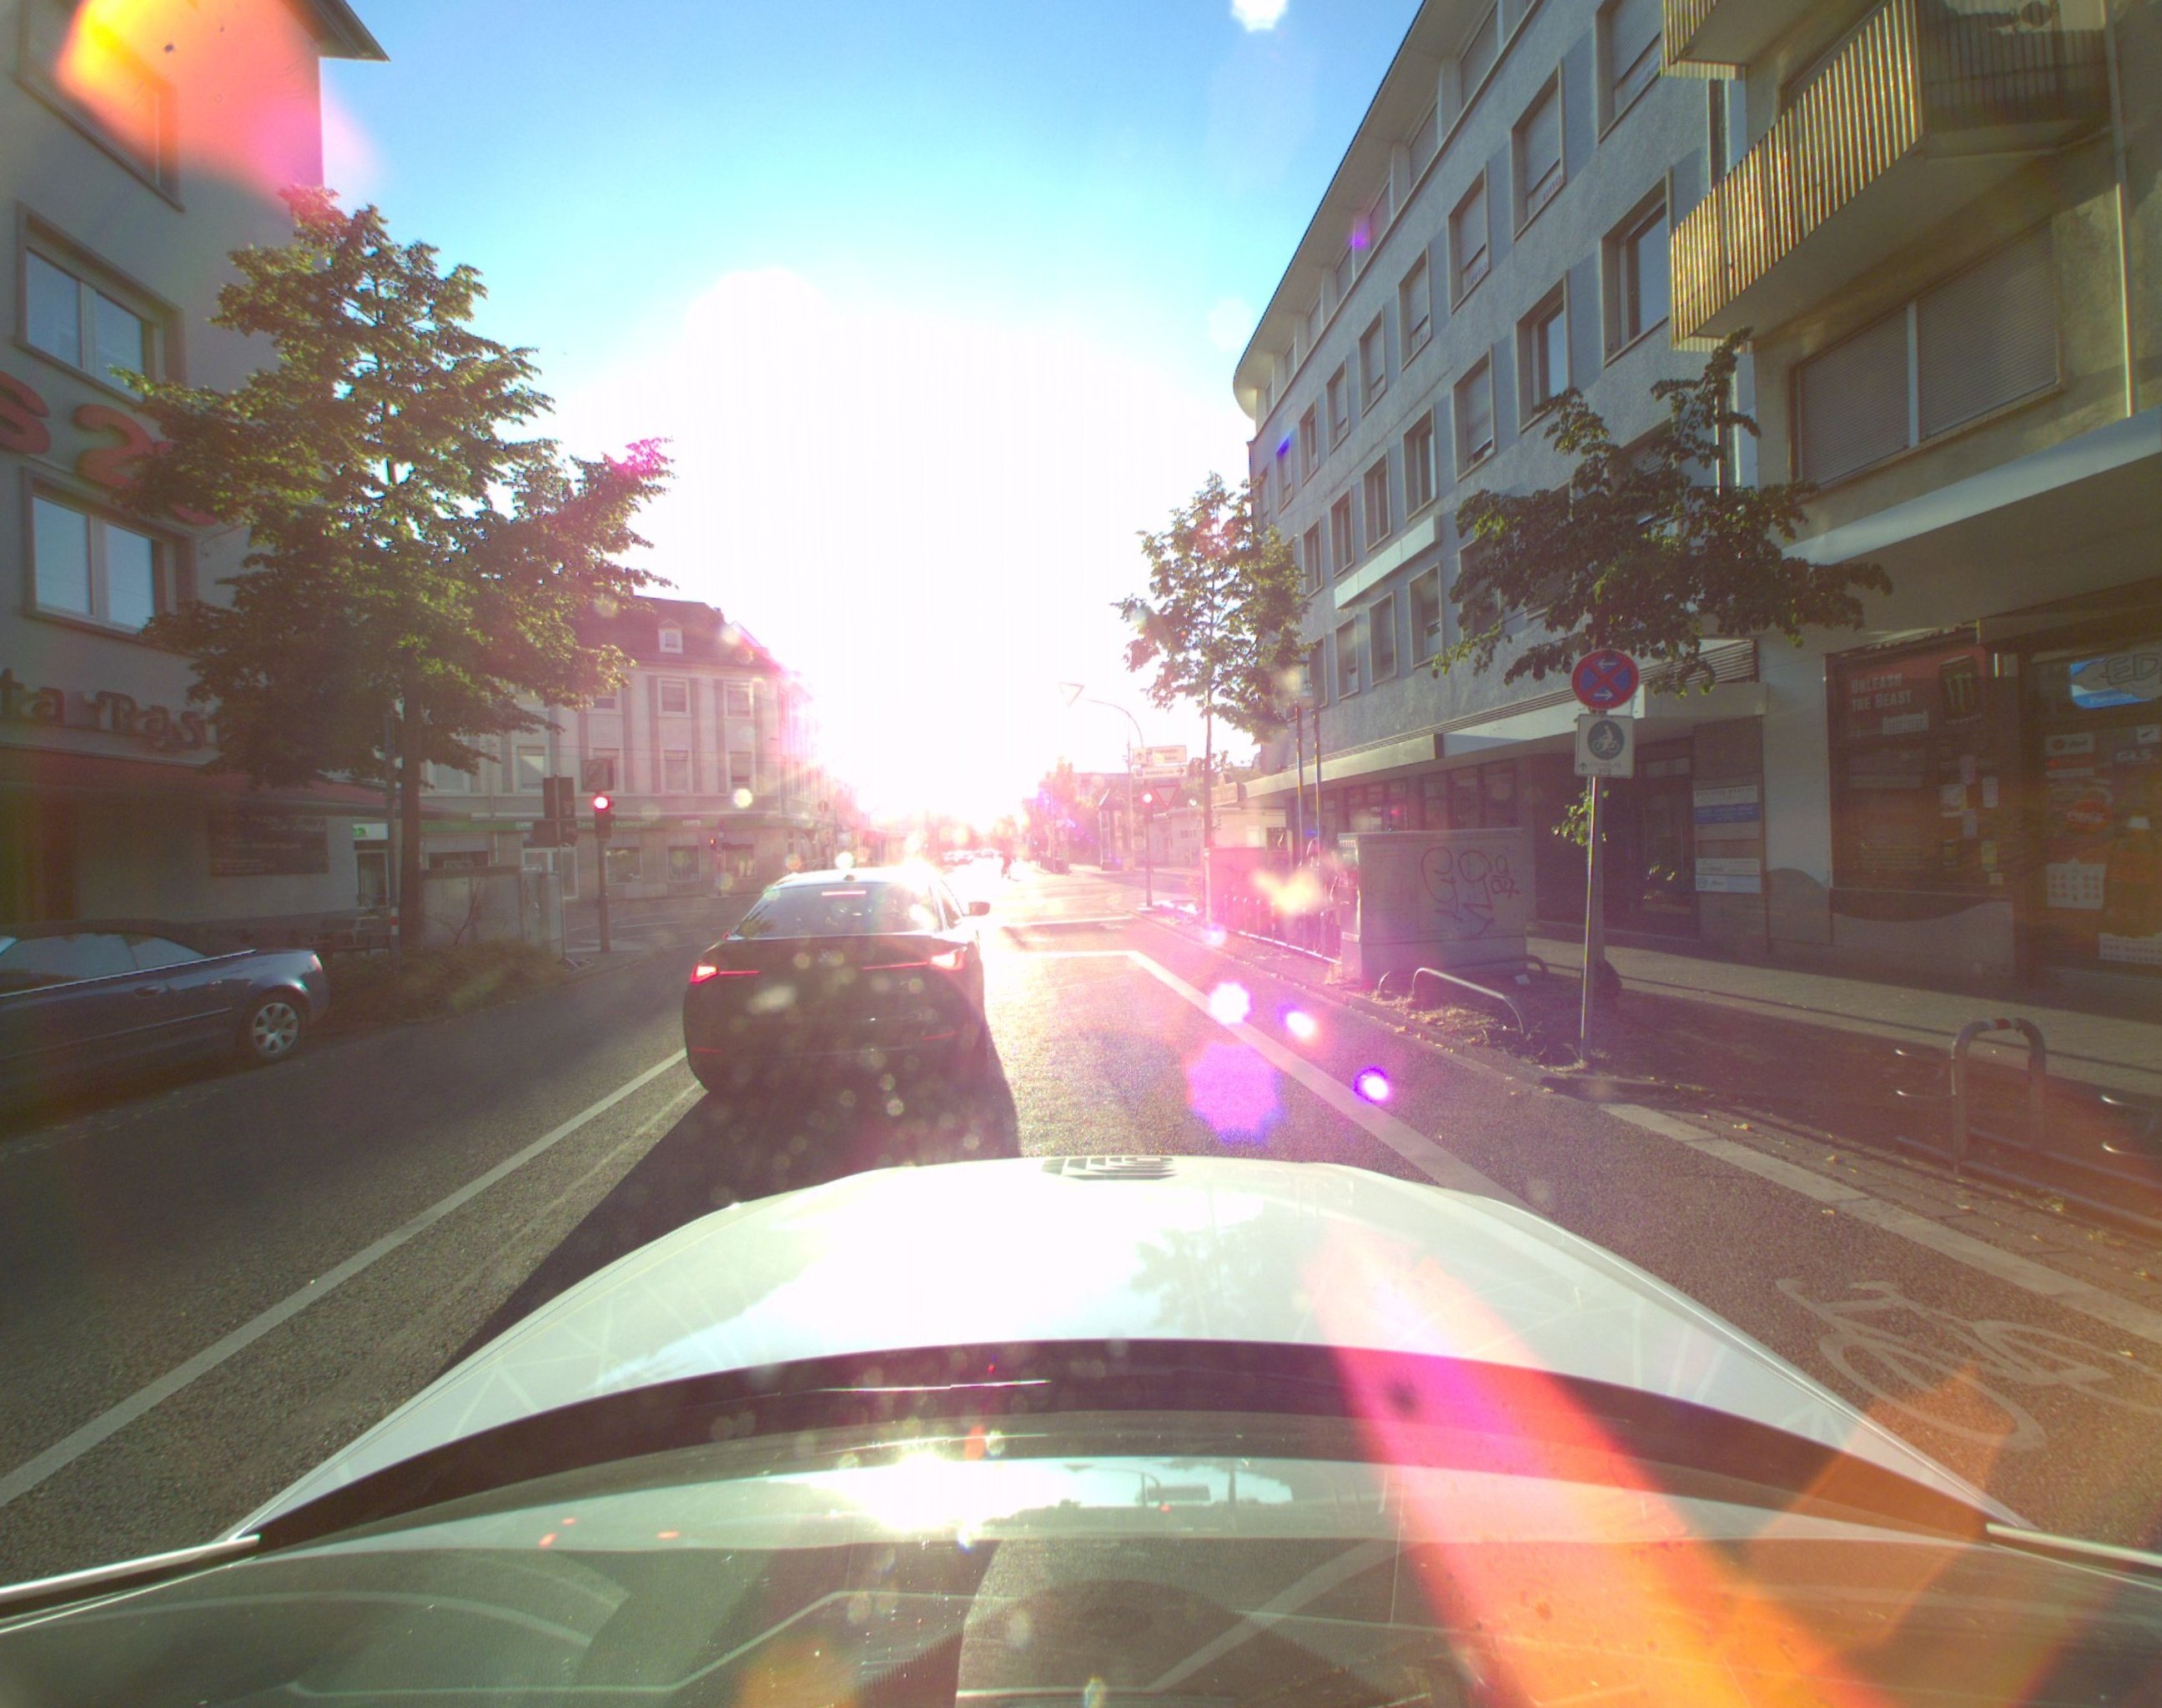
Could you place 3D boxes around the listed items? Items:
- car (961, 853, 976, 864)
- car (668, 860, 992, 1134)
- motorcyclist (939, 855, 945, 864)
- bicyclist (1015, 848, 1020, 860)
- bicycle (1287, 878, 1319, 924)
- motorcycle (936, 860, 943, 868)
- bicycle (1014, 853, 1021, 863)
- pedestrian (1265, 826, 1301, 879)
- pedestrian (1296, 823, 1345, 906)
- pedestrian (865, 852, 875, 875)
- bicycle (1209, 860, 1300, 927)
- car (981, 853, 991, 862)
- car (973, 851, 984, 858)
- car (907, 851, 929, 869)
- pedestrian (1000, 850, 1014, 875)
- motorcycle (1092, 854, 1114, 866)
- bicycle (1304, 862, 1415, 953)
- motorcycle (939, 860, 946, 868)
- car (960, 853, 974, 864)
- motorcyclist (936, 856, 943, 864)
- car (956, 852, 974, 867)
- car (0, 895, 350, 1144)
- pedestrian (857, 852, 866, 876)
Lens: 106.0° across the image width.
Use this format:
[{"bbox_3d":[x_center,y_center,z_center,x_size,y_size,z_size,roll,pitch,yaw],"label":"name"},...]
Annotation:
[{"bbox_3d":[-15.805,0.630,114.483,1.816,1.519,3.992,-2,0,-6],"label":"car"},{"bbox_3d":[-1.643,0.799,6.661,1.735,1.428,4.213,-1,0,-7],"label":"car"},{"bbox_3d":[-15.394,0.596,90.354,0.574,0.995,0.701,0,0,-6],"label":"motorcyclist"},{"bbox_3d":[-7.833,-0.008,100.026,0.550,1.481,0.720,-1,-1,-11],"label":"bicyclist"},{"bbox_3d":[4.190,0.872,15.382,0.249,0.796,1.114,0,0,-3],"label":"bicycle"},{"bbox_3d":[-16.153,1.132,92.899,0.574,0.915,2.196,0,0,-6],"label":"motorcycle"},{"bbox_3d":[-7.814,0.506,99.932,0.550,1.159,2.136,-1,-1,-11],"label":"bicycle"},{"bbox_3d":[7.538,-0.067,30.349,1.007,1.860,0.634,-5,1,-27],"label":"pedestrian"},{"bbox_3d":[5.482,0.226,18.681,0.834,1.841,0.677,-2,0,-6],"label":"pedestrian"},{"bbox_3d":[-16.757,0.756,64.760,0.675,1.876,0.616,0,0,-6],"label":"pedestrian"},{"bbox_3d":[3.234,0.729,15.213,1.610,1.171,0.318,-2,0,-5],"label":"bicycle"},{"bbox_3d":[-17.272,0.561,148.168,1.816,1.519,3.992,-2,0,-6],"label":"car"},{"bbox_3d":[-22.006,0.104,175.318,1.990,1.552,3.994,-3,1,-4],"label":"car"},{"bbox_3d":[-17.518,0.660,87.720,1.816,1.788,3.992,-2,0,-6],"label":"car"},{"bbox_3d":[-4.416,0.500,48.688,0.736,1.529,0.468,0,0,-27],"label":"pedestrian"},{"bbox_3d":[1.826,0.522,67.994,1.673,0.939,0.851,-2,0,-18],"label":"motorcycle"},{"bbox_3d":[3.886,0.733,11.399,1.438,1.220,0.383,0,0,-5],"label":"bicycle"},{"bbox_3d":[-15.397,1.127,90.418,0.574,0.915,2.196,0,0,-6],"label":"motorcycle"},{"bbox_3d":[-17.302,0.630,123.821,1.816,1.519,3.992,-2,0,-6],"label":"car"},{"bbox_3d":[-16.132,0.710,92.779,0.574,0.915,2.196,0,0,-6],"label":"motorcyclist"},{"bbox_3d":[-12.917,0.630,90.778,1.816,1.519,3.992,-2,0,-6],"label":"car"},{"bbox_3d":[-7.636,1.149,5.546,1.721,1.415,4.270,-4,0,-7],"label":"car"},{"bbox_3d":[-17.364,0.761,64.408,0.642,1.876,0.630,0,0,-7],"label":"pedestrian"}]
